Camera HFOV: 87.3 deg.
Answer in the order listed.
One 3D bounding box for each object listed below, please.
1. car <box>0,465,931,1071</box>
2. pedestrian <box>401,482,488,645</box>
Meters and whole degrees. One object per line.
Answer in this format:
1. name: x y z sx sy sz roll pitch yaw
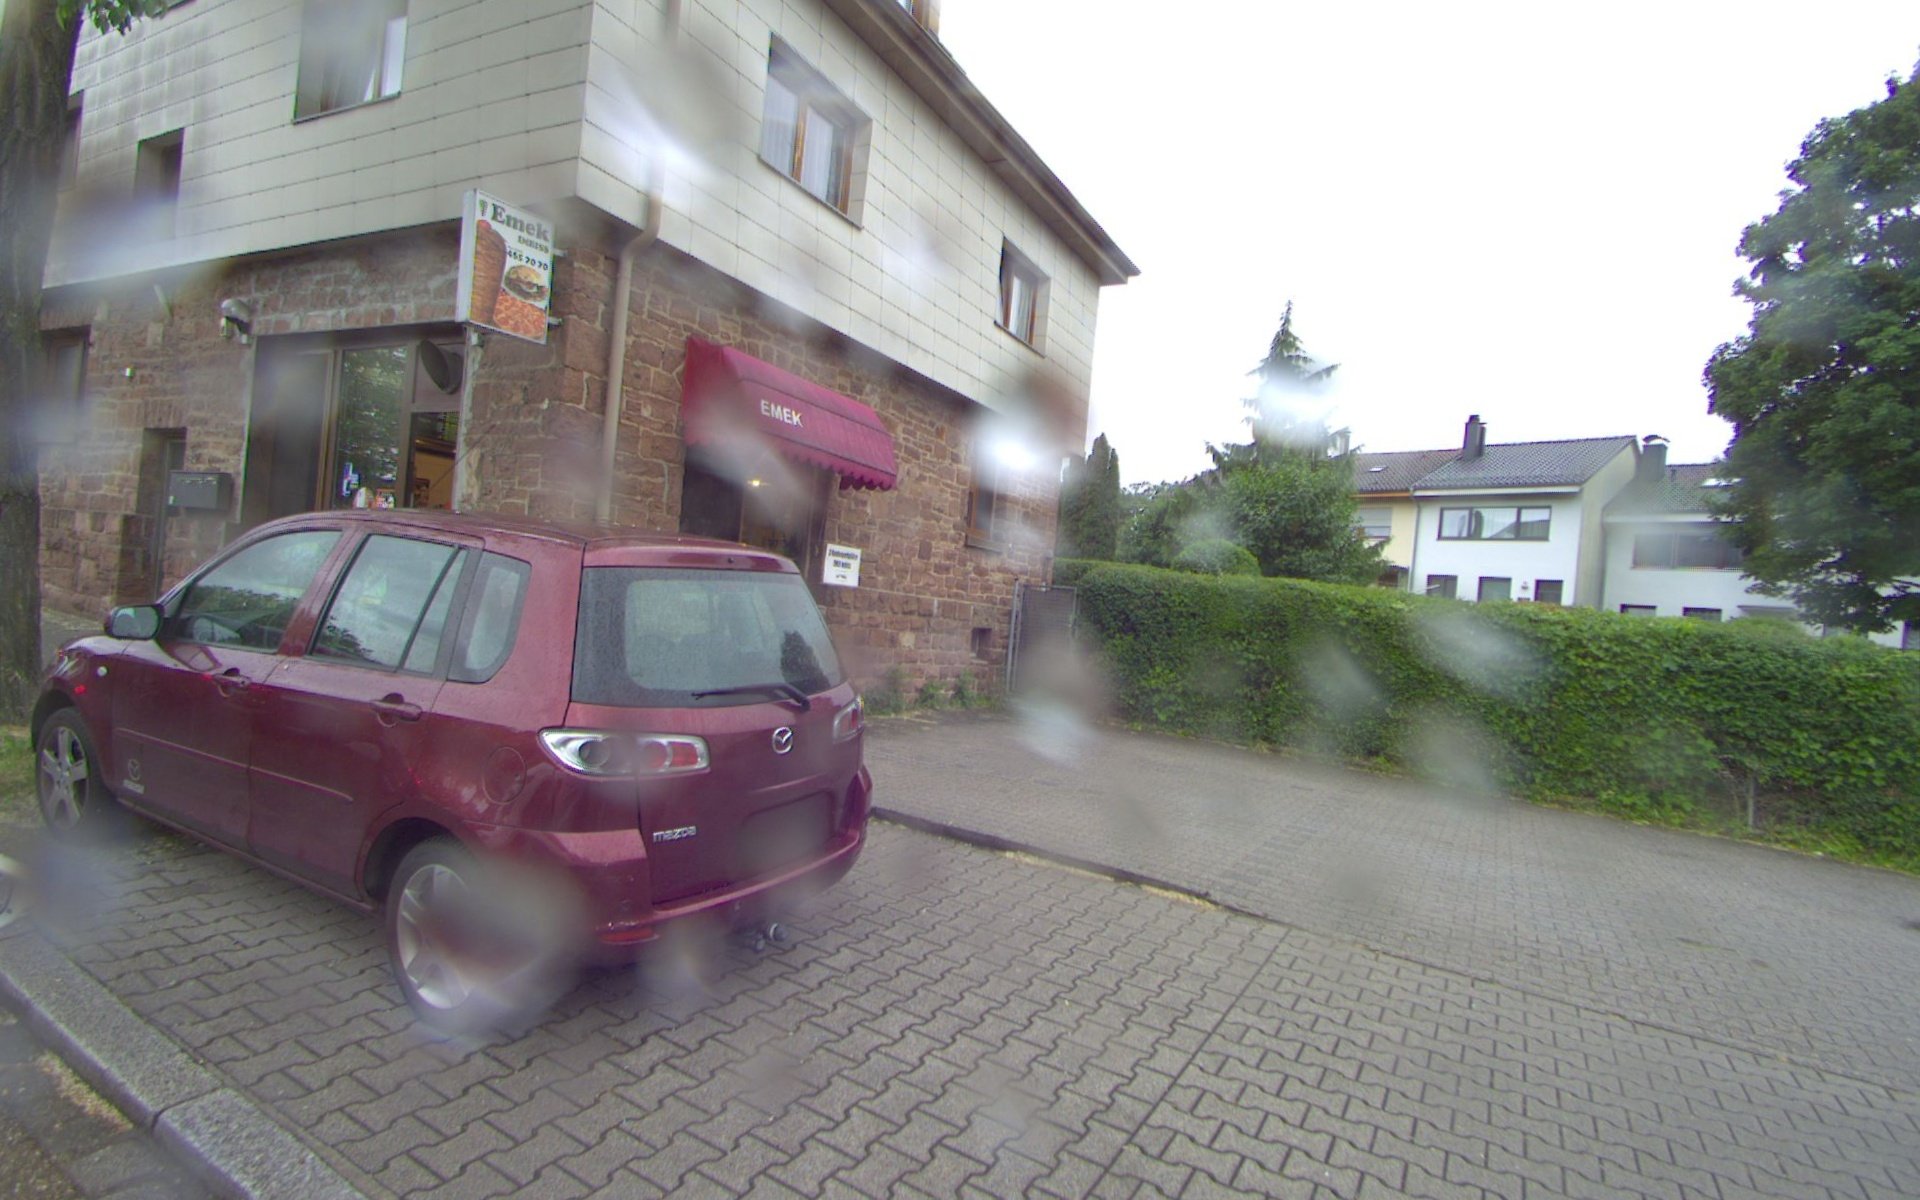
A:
1. car: -2.177 0.378 4.149 3.692 1.521 1.614 5 -3 29
2. pedestrian: -5.561 -0.386 10.853 0.447 1.679 0.493 7 -1 31
